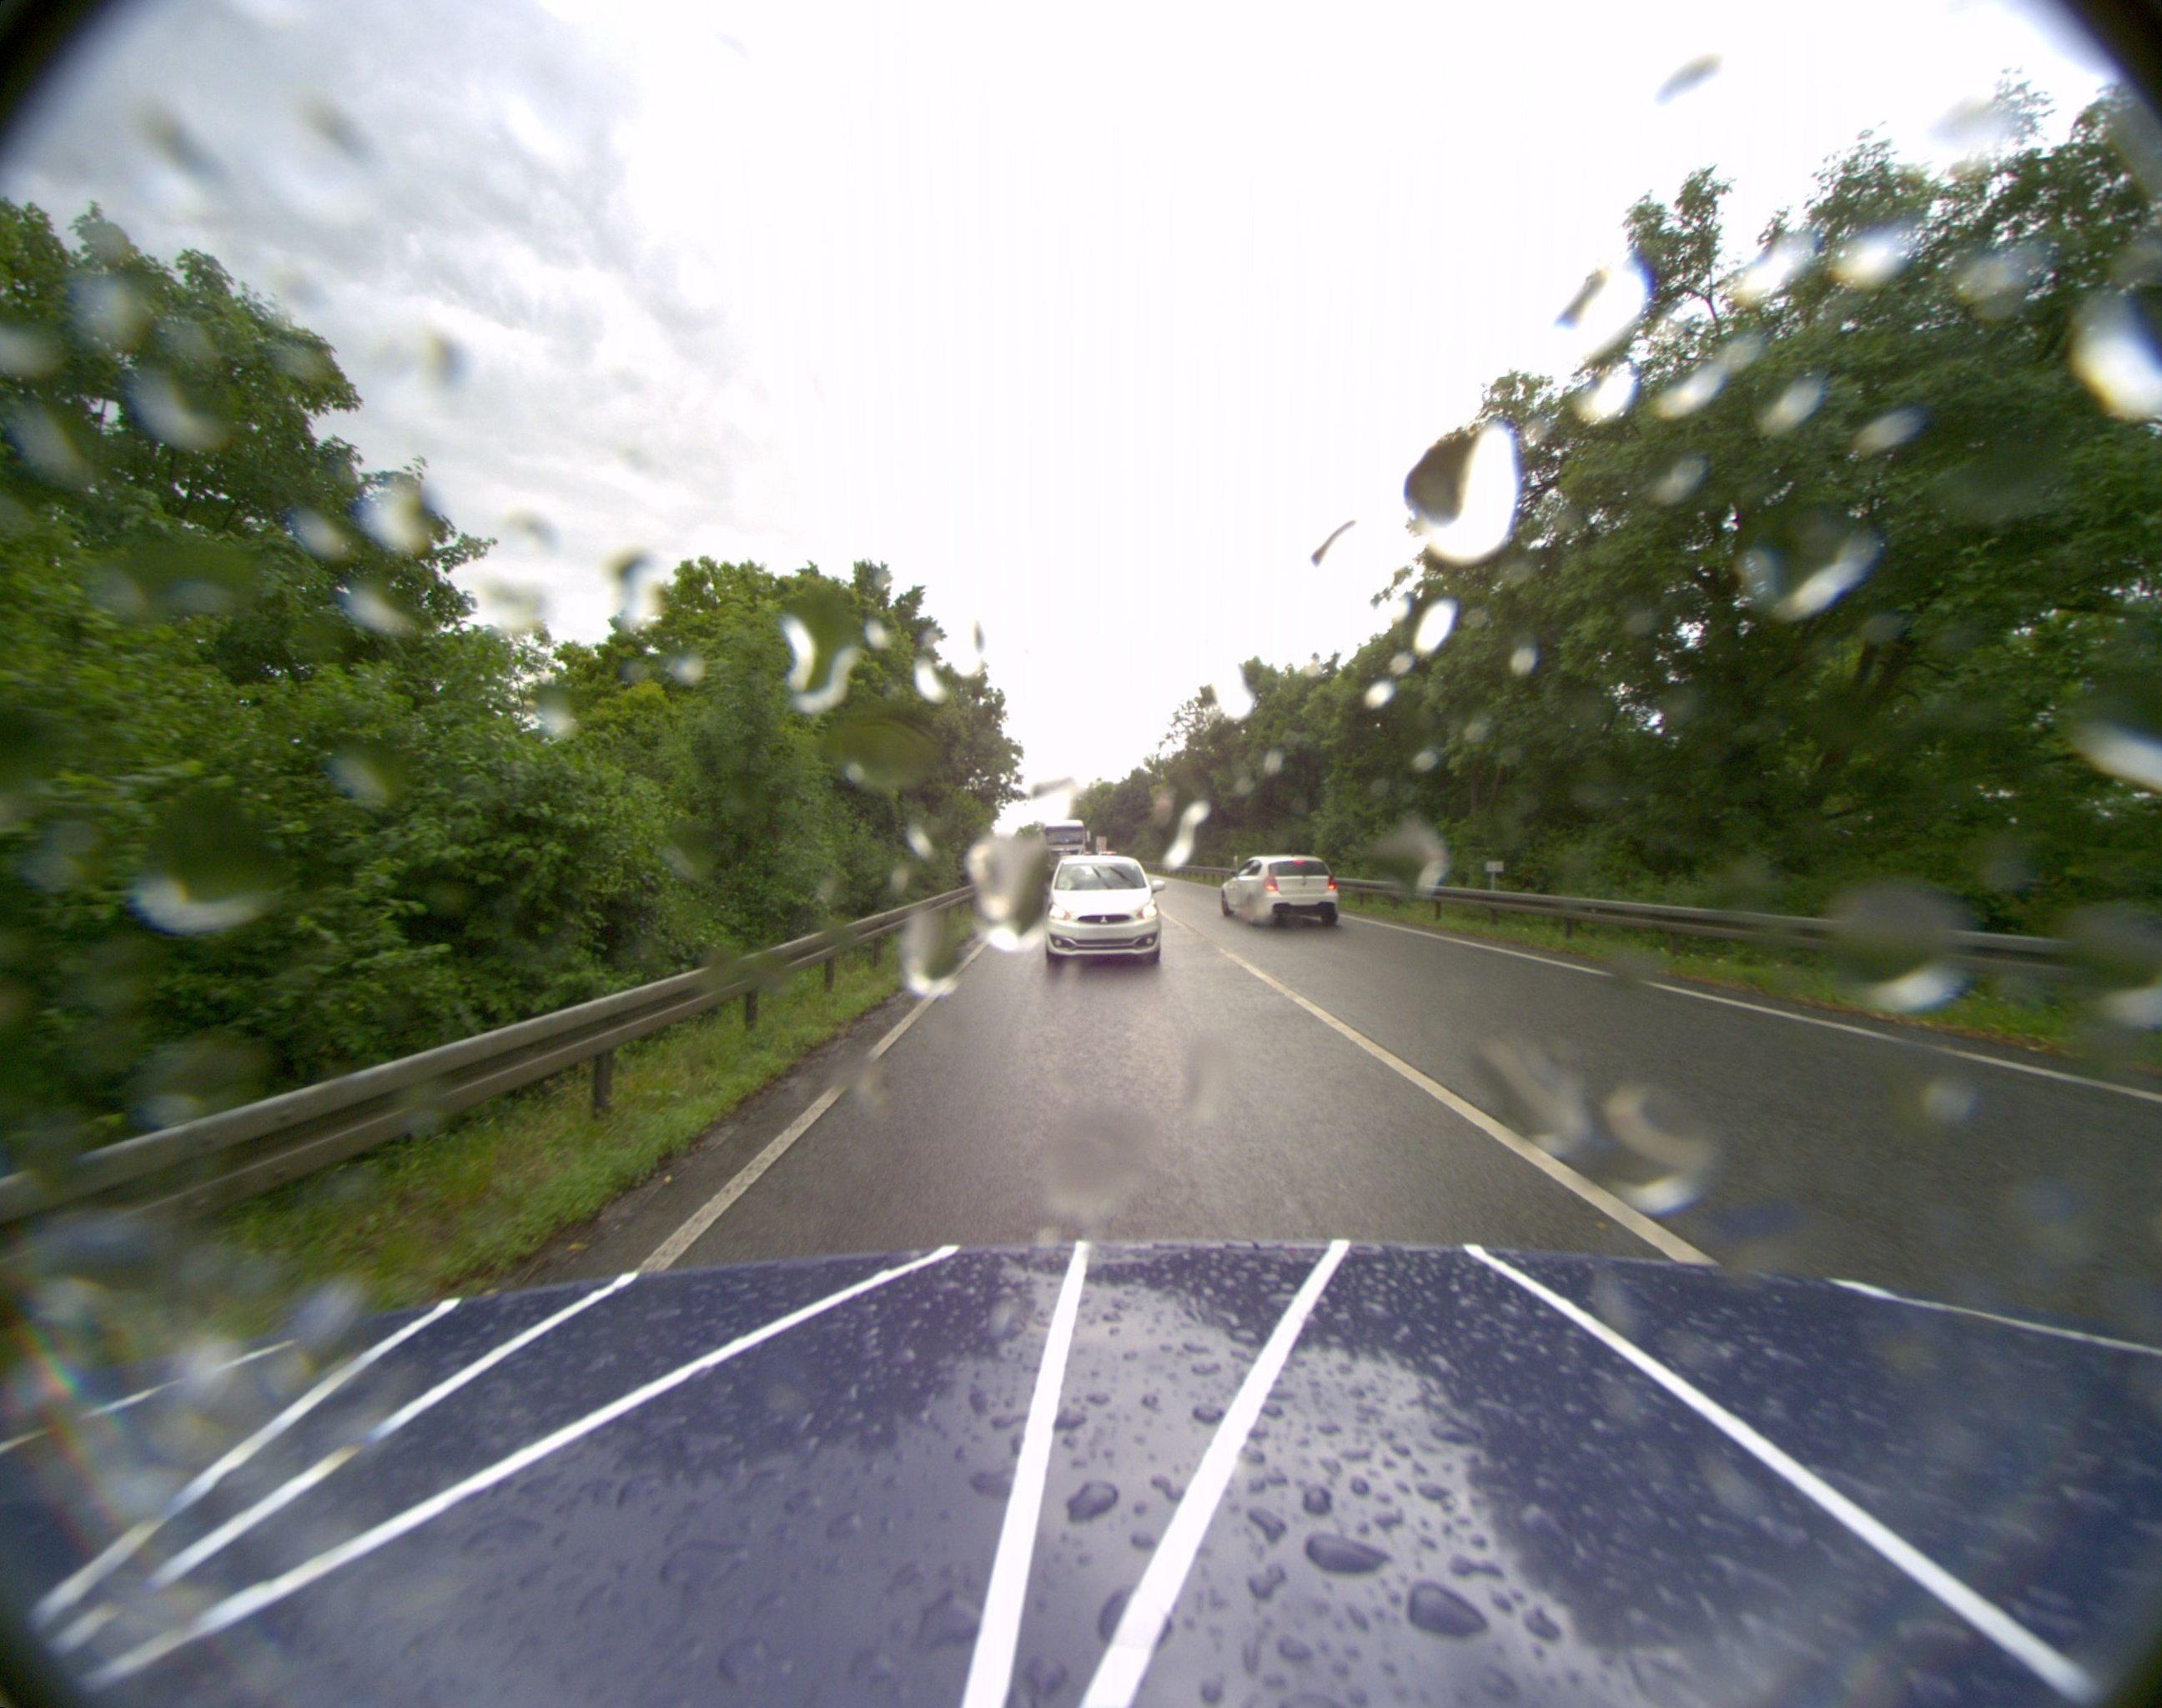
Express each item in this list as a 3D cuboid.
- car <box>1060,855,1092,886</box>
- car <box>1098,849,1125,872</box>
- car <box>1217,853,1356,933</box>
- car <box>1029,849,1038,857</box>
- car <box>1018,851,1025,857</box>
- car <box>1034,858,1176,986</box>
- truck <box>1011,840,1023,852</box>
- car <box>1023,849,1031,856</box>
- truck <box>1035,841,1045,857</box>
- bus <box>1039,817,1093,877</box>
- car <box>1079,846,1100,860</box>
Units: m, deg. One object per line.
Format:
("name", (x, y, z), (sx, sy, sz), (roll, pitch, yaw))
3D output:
("car", (-0.270, 0.771, 36.597), (1.476, 1.410, 3.428), (-1, 0, -2))
("car", (2.318, 0.467, 58.731), (1.801, 1.650, 4.081), (-1, 0, -2))
("car", (4.235, 0.739, 16.330), (1.819, 1.445, 4.047), (-1, 0, -1))
("car", (-9.587, -0.202, 153.575), (1.535, 1.459, 3.072), (-2, 0, -8))
("car", (-14.538, 0.003, 185.273), (1.535, 1.459, 3.072), (-2, 0, -8))
("car", (0.213, 0.837, 11.297), (1.701, 1.471, 4.062), (-1, 0, -2))
("truck", (-17.135, -2.026, 202.174), (2.432, 2.982, 6.938), (-2, 1, -10))
("car", (-12.462, -0.333, 174.931), (1.535, 1.459, 3.072), (-2, 0, -8))
("truck", (-7.735, -0.946, 142.733), (1.480, 2.860, 5.681), (-2, 0, -7))
("bus", (-1.073, -0.414, 50.935), (3.063, 3.405, 13.637), (-1, 0, -2))
("car", (0.814, -0.101, 77.295), (1.886, 1.412, 3.999), (-1, 0, -2))
